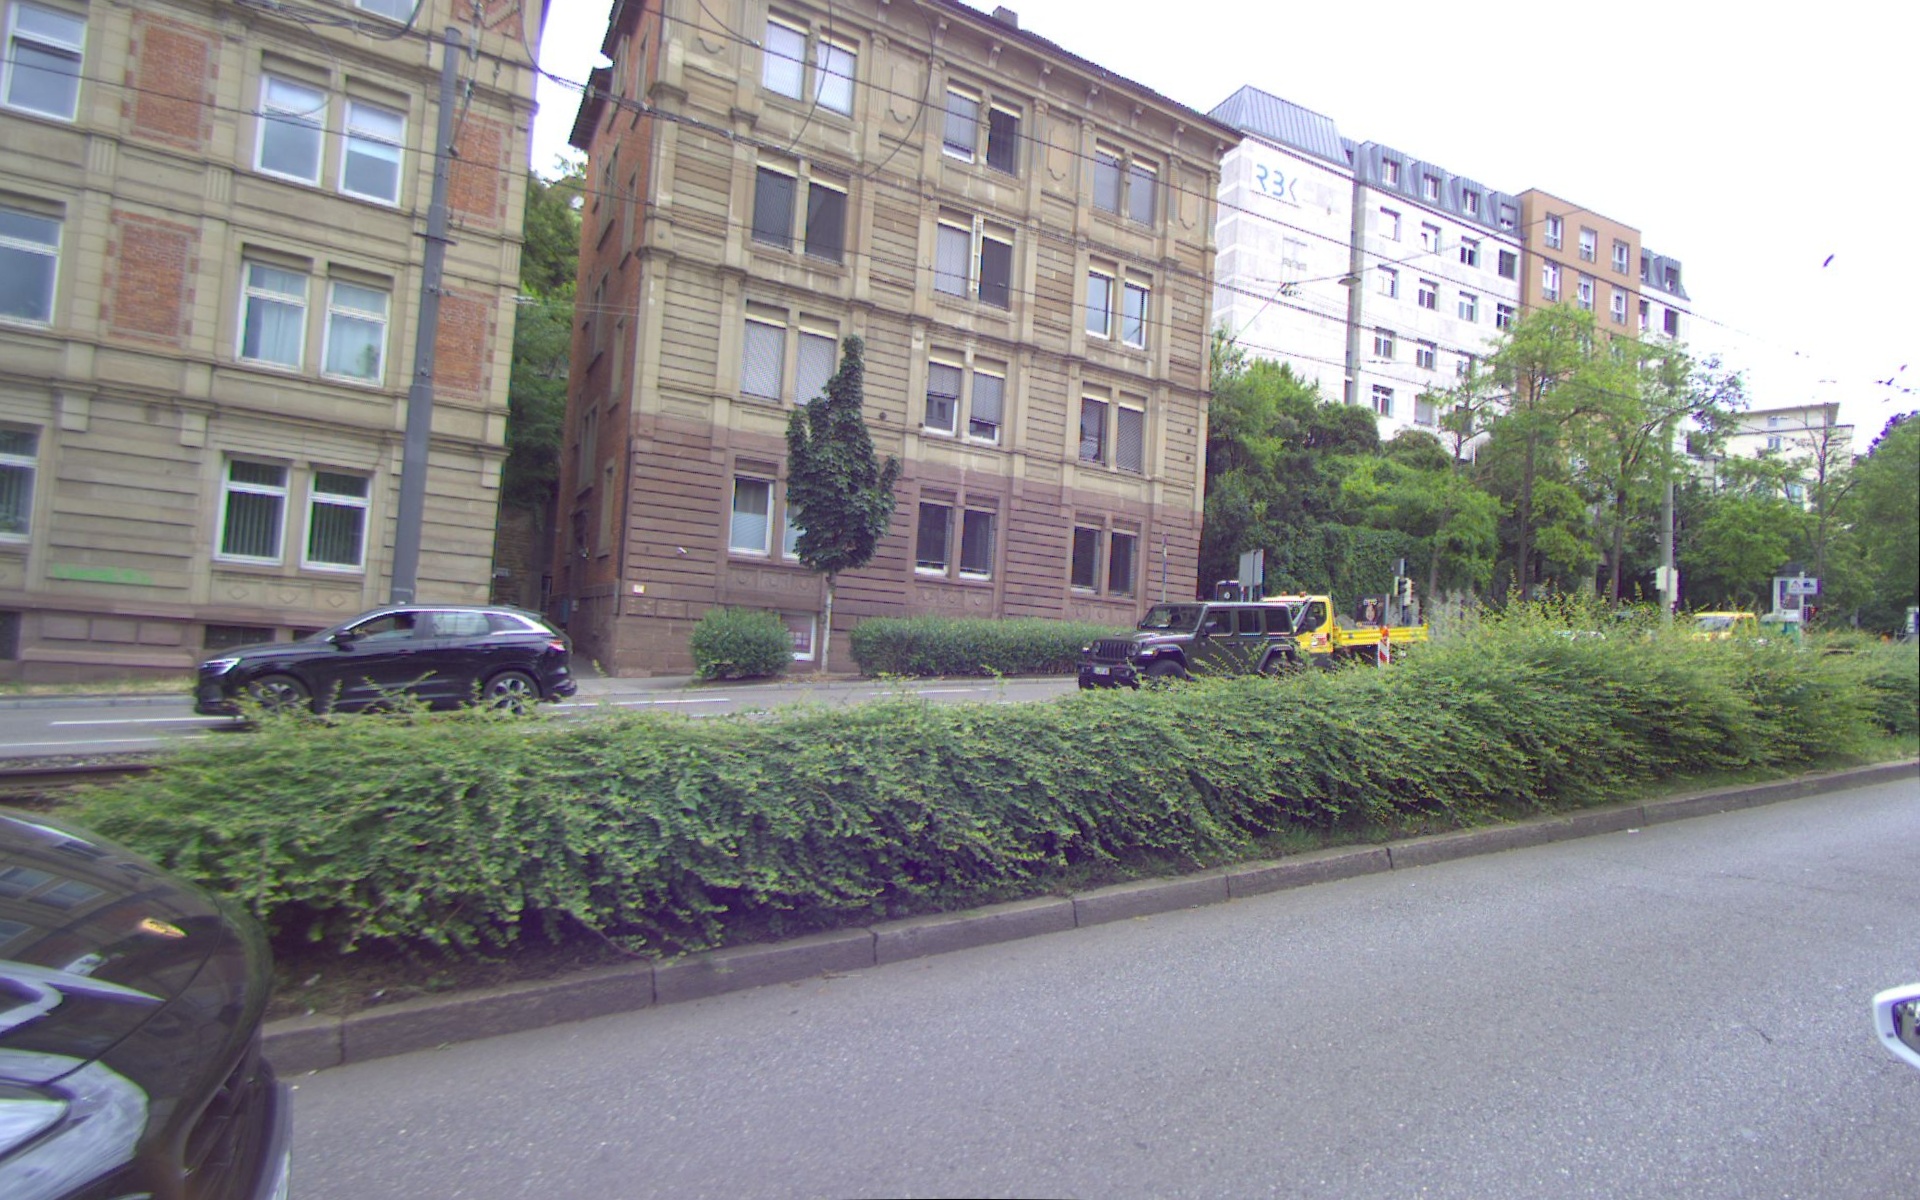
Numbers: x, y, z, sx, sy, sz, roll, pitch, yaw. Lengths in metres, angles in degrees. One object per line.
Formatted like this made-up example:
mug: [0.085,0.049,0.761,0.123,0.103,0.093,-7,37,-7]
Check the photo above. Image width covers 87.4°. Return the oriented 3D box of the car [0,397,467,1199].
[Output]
car: [-3.067,0.582,0.655,4.728,1.707,2.017,3,-2,-31]

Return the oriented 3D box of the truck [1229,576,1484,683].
truck: [11.266,0.870,28.385,7.073,2.542,2.903,4,-1,-31]

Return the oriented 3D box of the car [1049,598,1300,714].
car: [4.045,0.996,18.625,4.595,1.901,1.887,2,-1,-34]

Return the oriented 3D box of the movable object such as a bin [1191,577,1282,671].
movable object such as a bin: [8.824,0.777,32.118,2.010,2.875,1.980,2,-2,-36]

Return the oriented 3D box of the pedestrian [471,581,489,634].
pedestrian: [-16.063,0.255,33.625,0.486,1.761,0.514,1,-2,-31]

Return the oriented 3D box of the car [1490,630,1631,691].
car: [16.479,1.608,27.520,4.022,1.507,1.730,1,-1,-33]

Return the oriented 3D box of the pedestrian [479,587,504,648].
pedestrian: [-13.077,0.496,28.048,0.554,1.674,0.618,1,-2,-31]

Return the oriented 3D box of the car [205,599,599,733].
car: [-7.383,0.855,13.718,4.383,1.575,1.857,2,-1,-28]
